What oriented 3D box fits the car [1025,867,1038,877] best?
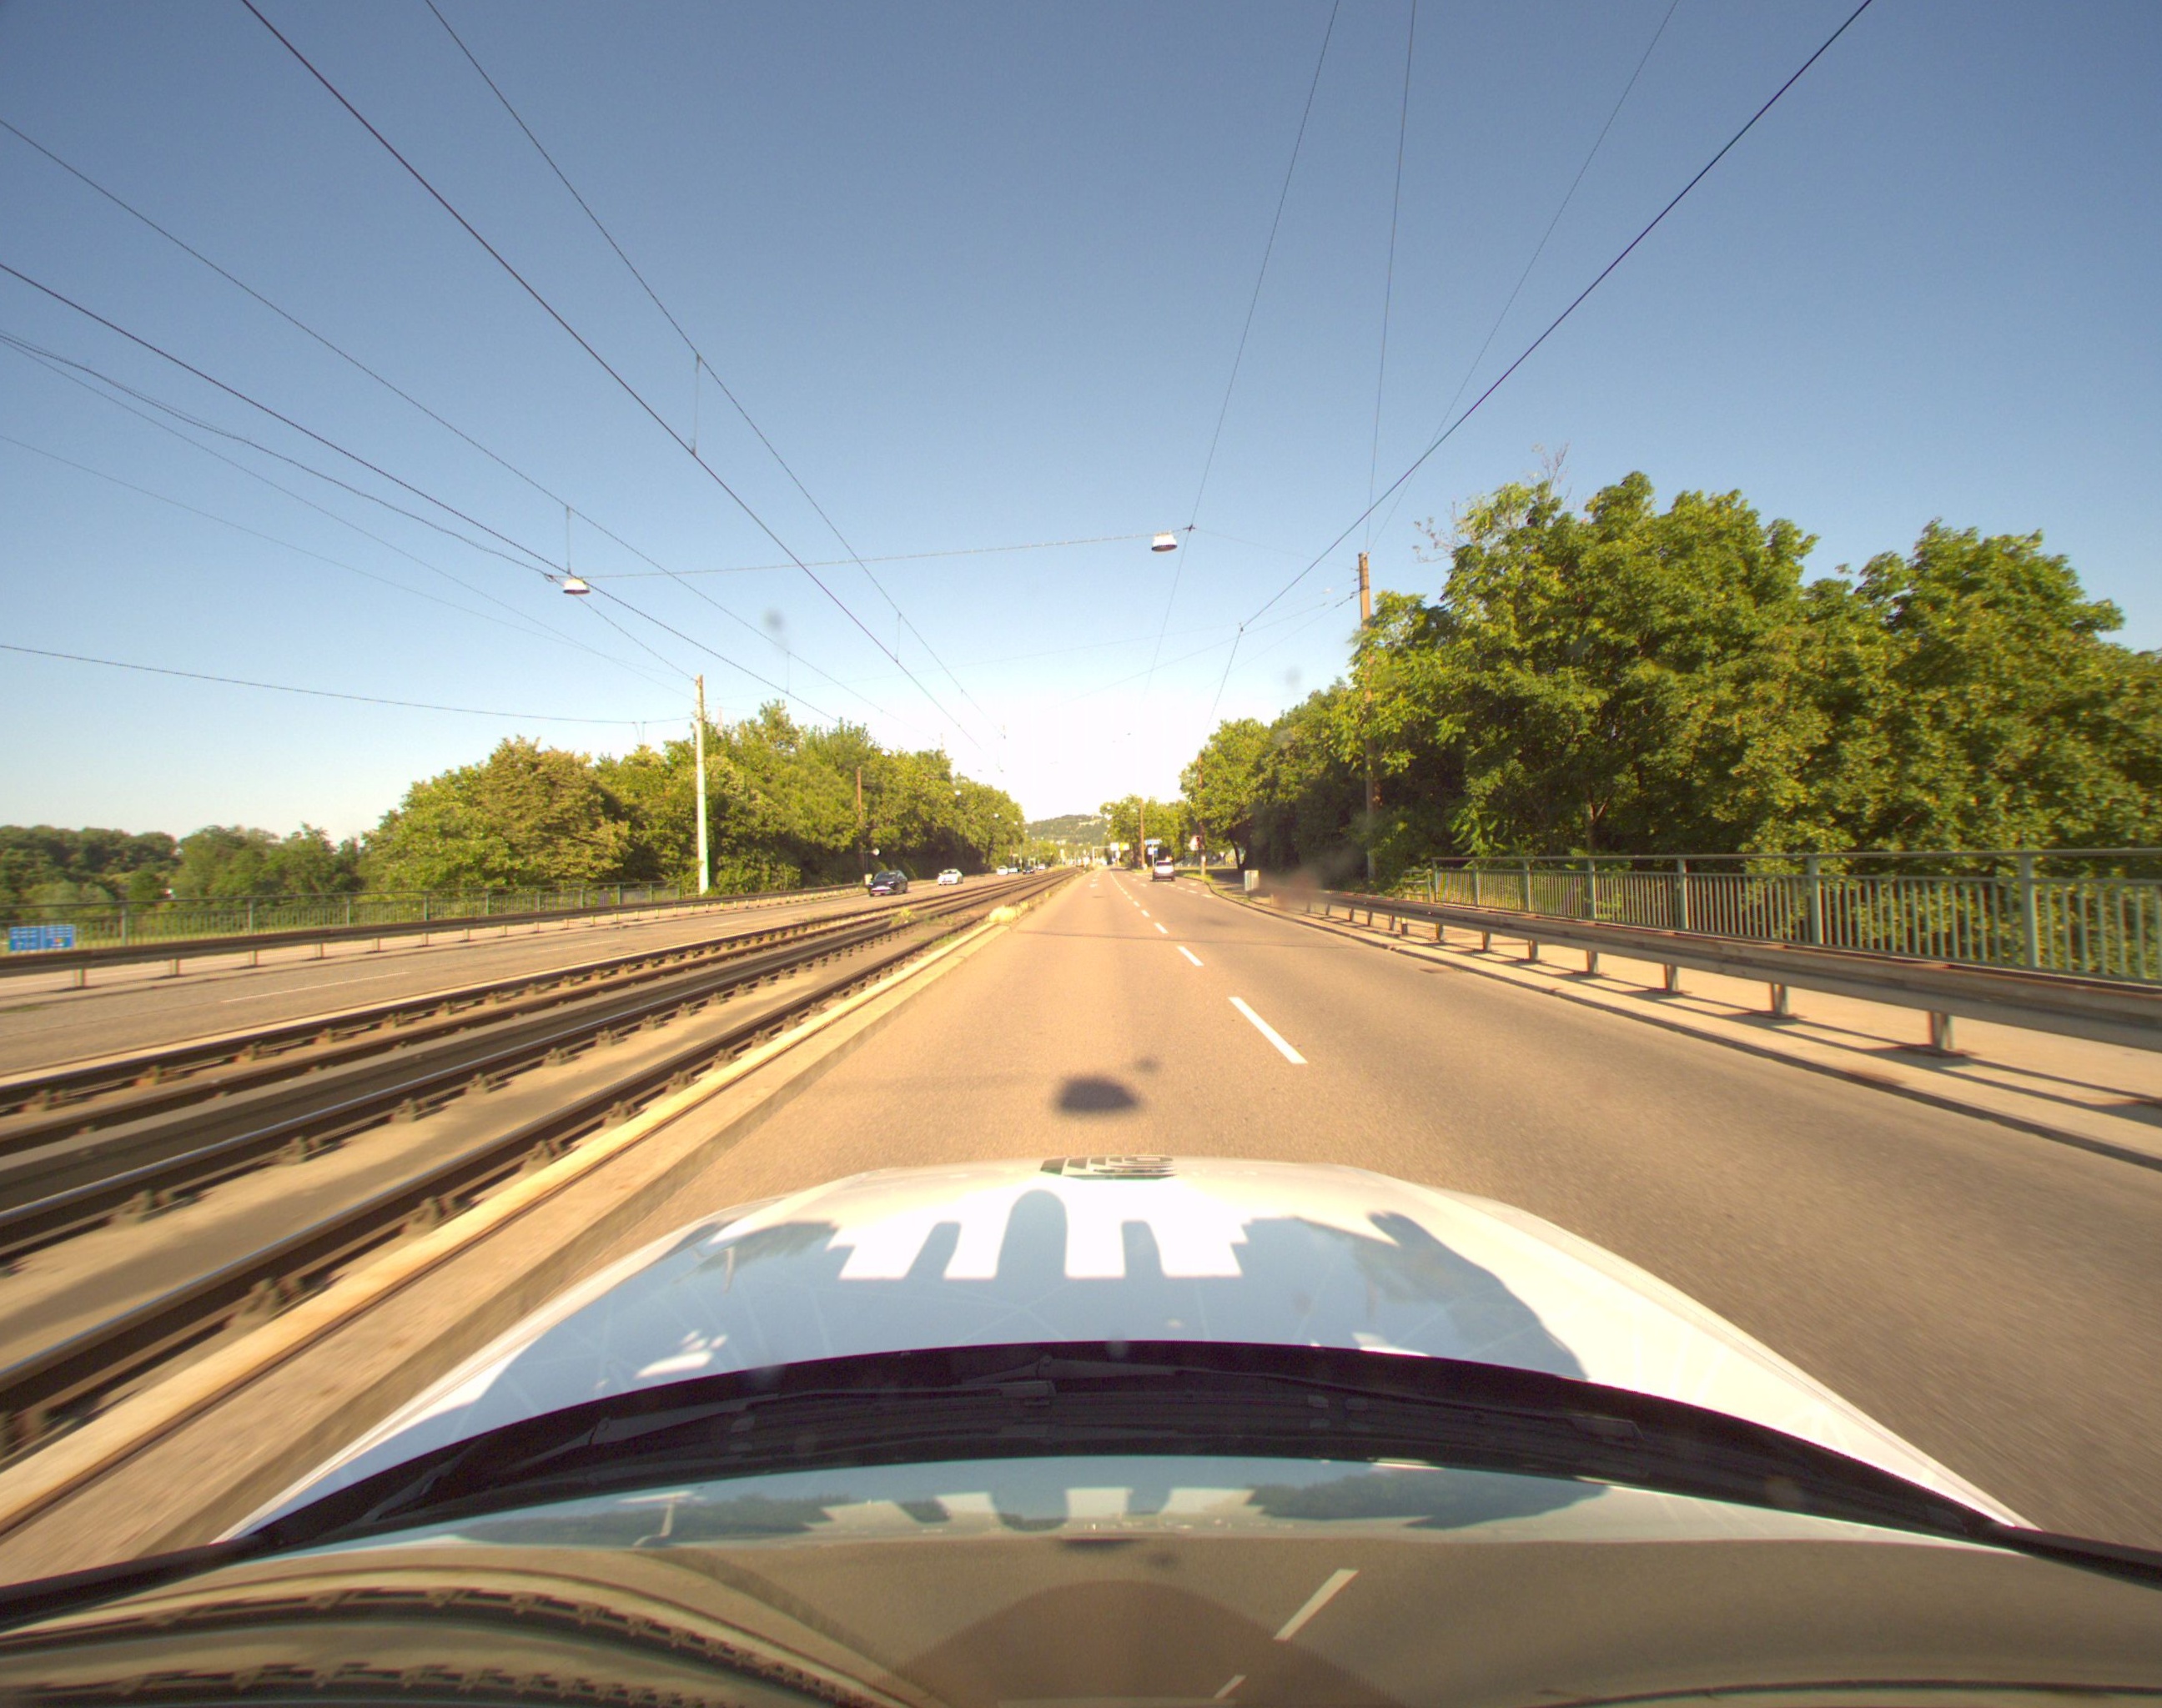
[{"bbox_3d":[-8.184,2.992,136.218,1.651,1.433,4.503,-4,-1,2],"label":"car"}]

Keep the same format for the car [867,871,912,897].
[{"bbox_3d":[-12.602,1.954,53.813,1.703,1.580,4.801,-2,-1,0],"label":"car"}]

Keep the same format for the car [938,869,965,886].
[{"bbox_3d":[-12.406,2.254,78.327,1.749,1.414,4.876,-4,-1,0],"label":"car"}]

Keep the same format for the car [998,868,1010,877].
[{"bbox_3d":[-14.055,3.318,148.722,1.685,1.556,4.192,-4,-1,2],"label":"car"}]

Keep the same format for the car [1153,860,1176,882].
[{"bbox_3d":[6.940,1.379,67.566,1.800,1.773,3.868,-1,-1,6],"label":"car"}]
